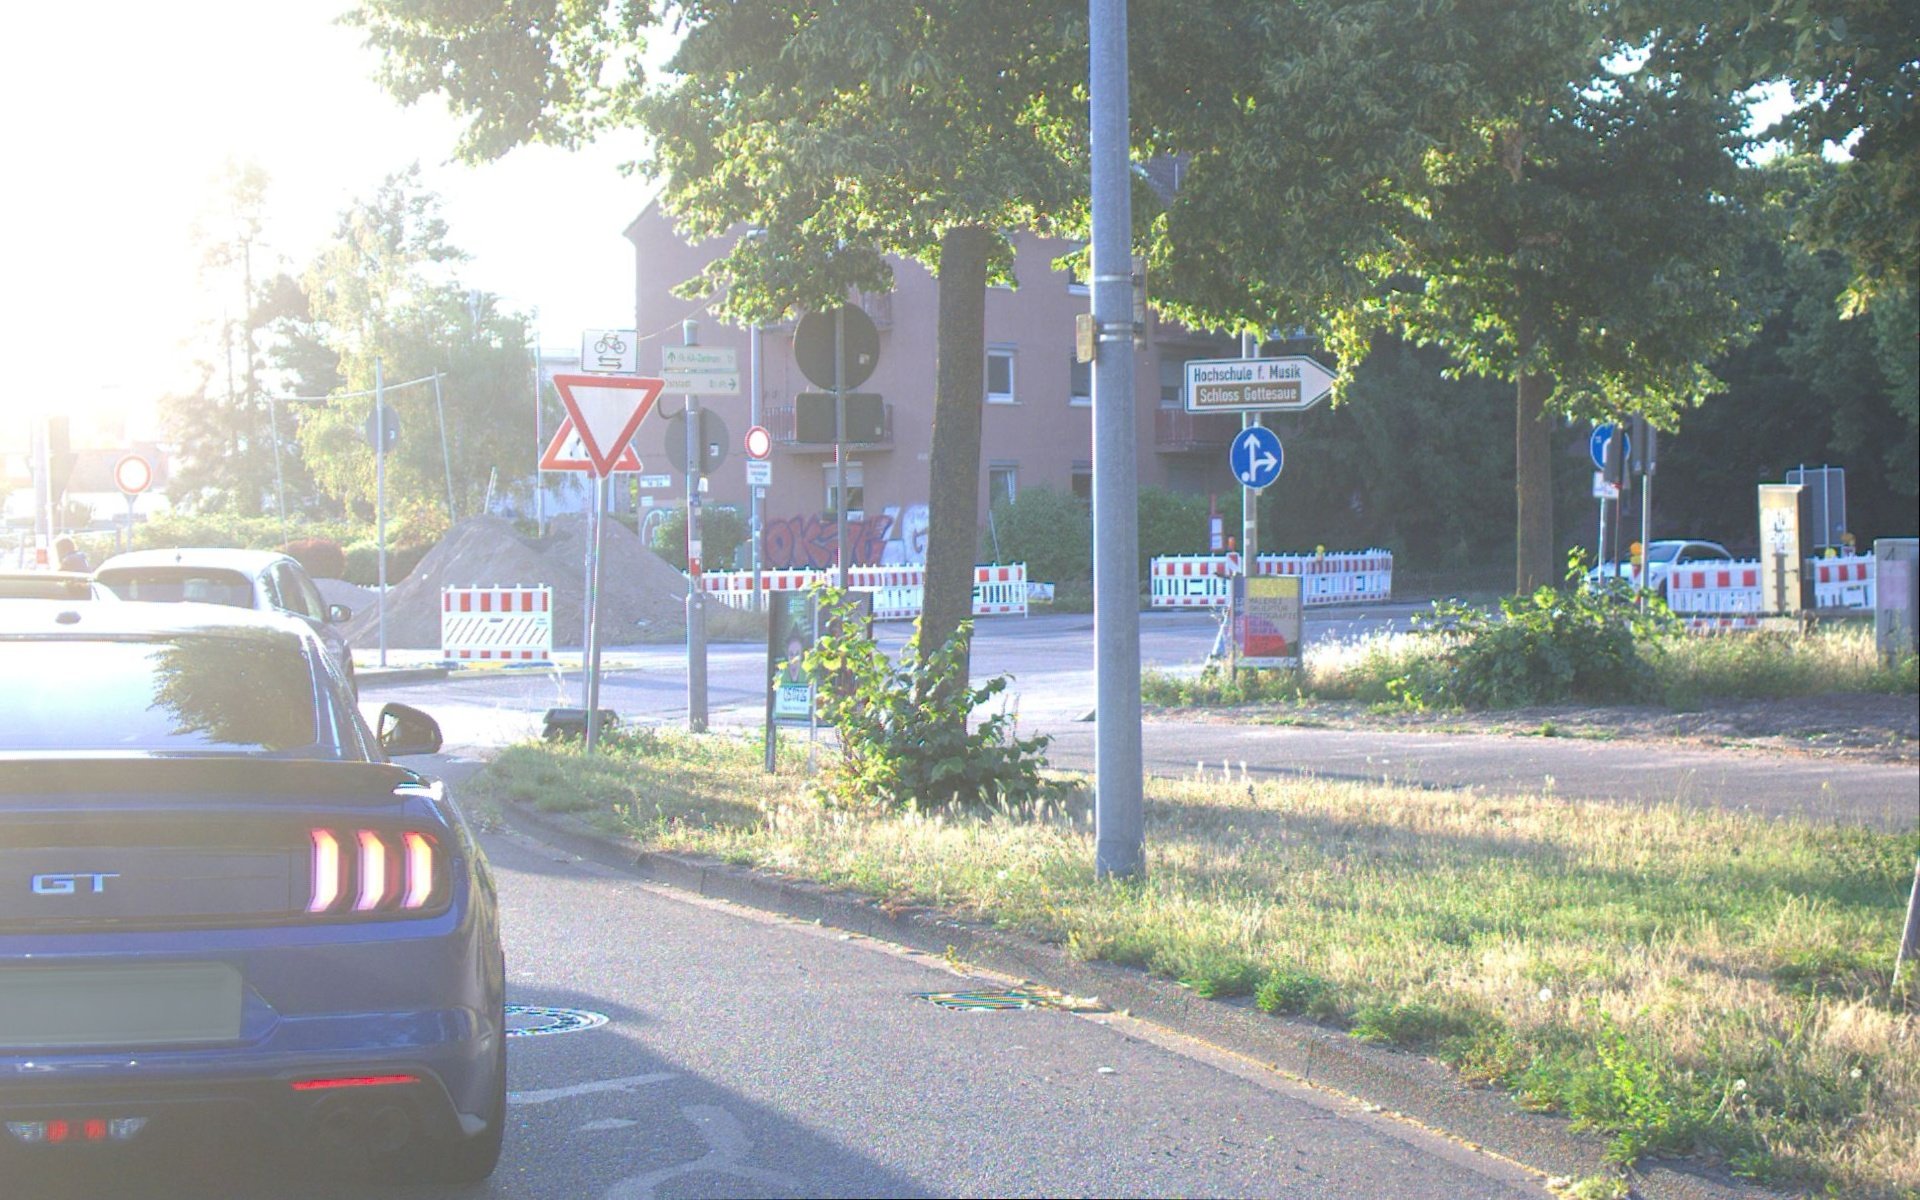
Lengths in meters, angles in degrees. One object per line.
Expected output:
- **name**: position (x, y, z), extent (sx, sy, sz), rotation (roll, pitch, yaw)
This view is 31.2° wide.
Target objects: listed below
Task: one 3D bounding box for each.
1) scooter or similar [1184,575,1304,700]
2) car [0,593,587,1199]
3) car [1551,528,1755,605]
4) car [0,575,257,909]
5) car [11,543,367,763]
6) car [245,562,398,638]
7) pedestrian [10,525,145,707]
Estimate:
- **scooter or similar**: position (2.854, 0.369, 34.598), extent (1.119, 1.234, 0.442), rotation (-1, 1, -14)
- **car**: position (-2.382, 0.676, 8.858), extent (1.950, 1.337, 4.672), rotation (0, 1, -17)
- **car**: position (14.775, -0.721, 73.179), extent (2.074, 1.448, 4.645), rotation (7, 5, 42)
- **car**: position (-4.772, 0.591, 16.740), extent (1.950, 1.422, 4.431), rotation (2, 0, -20)
- **car**: position (-6.011, 0.356, 27.277), extent (1.951, 1.597, 4.078), rotation (-1, 1, -1)
- **car**: position (-14.924, -0.019, 80.256), extent (1.994, 1.700, 3.999), rotation (-1, 1, -36)
- **pedestrian**: position (-8.322, 0.137, 32.428), extent (0.886, 1.680, 0.844), rotation (0, 1, 34)
